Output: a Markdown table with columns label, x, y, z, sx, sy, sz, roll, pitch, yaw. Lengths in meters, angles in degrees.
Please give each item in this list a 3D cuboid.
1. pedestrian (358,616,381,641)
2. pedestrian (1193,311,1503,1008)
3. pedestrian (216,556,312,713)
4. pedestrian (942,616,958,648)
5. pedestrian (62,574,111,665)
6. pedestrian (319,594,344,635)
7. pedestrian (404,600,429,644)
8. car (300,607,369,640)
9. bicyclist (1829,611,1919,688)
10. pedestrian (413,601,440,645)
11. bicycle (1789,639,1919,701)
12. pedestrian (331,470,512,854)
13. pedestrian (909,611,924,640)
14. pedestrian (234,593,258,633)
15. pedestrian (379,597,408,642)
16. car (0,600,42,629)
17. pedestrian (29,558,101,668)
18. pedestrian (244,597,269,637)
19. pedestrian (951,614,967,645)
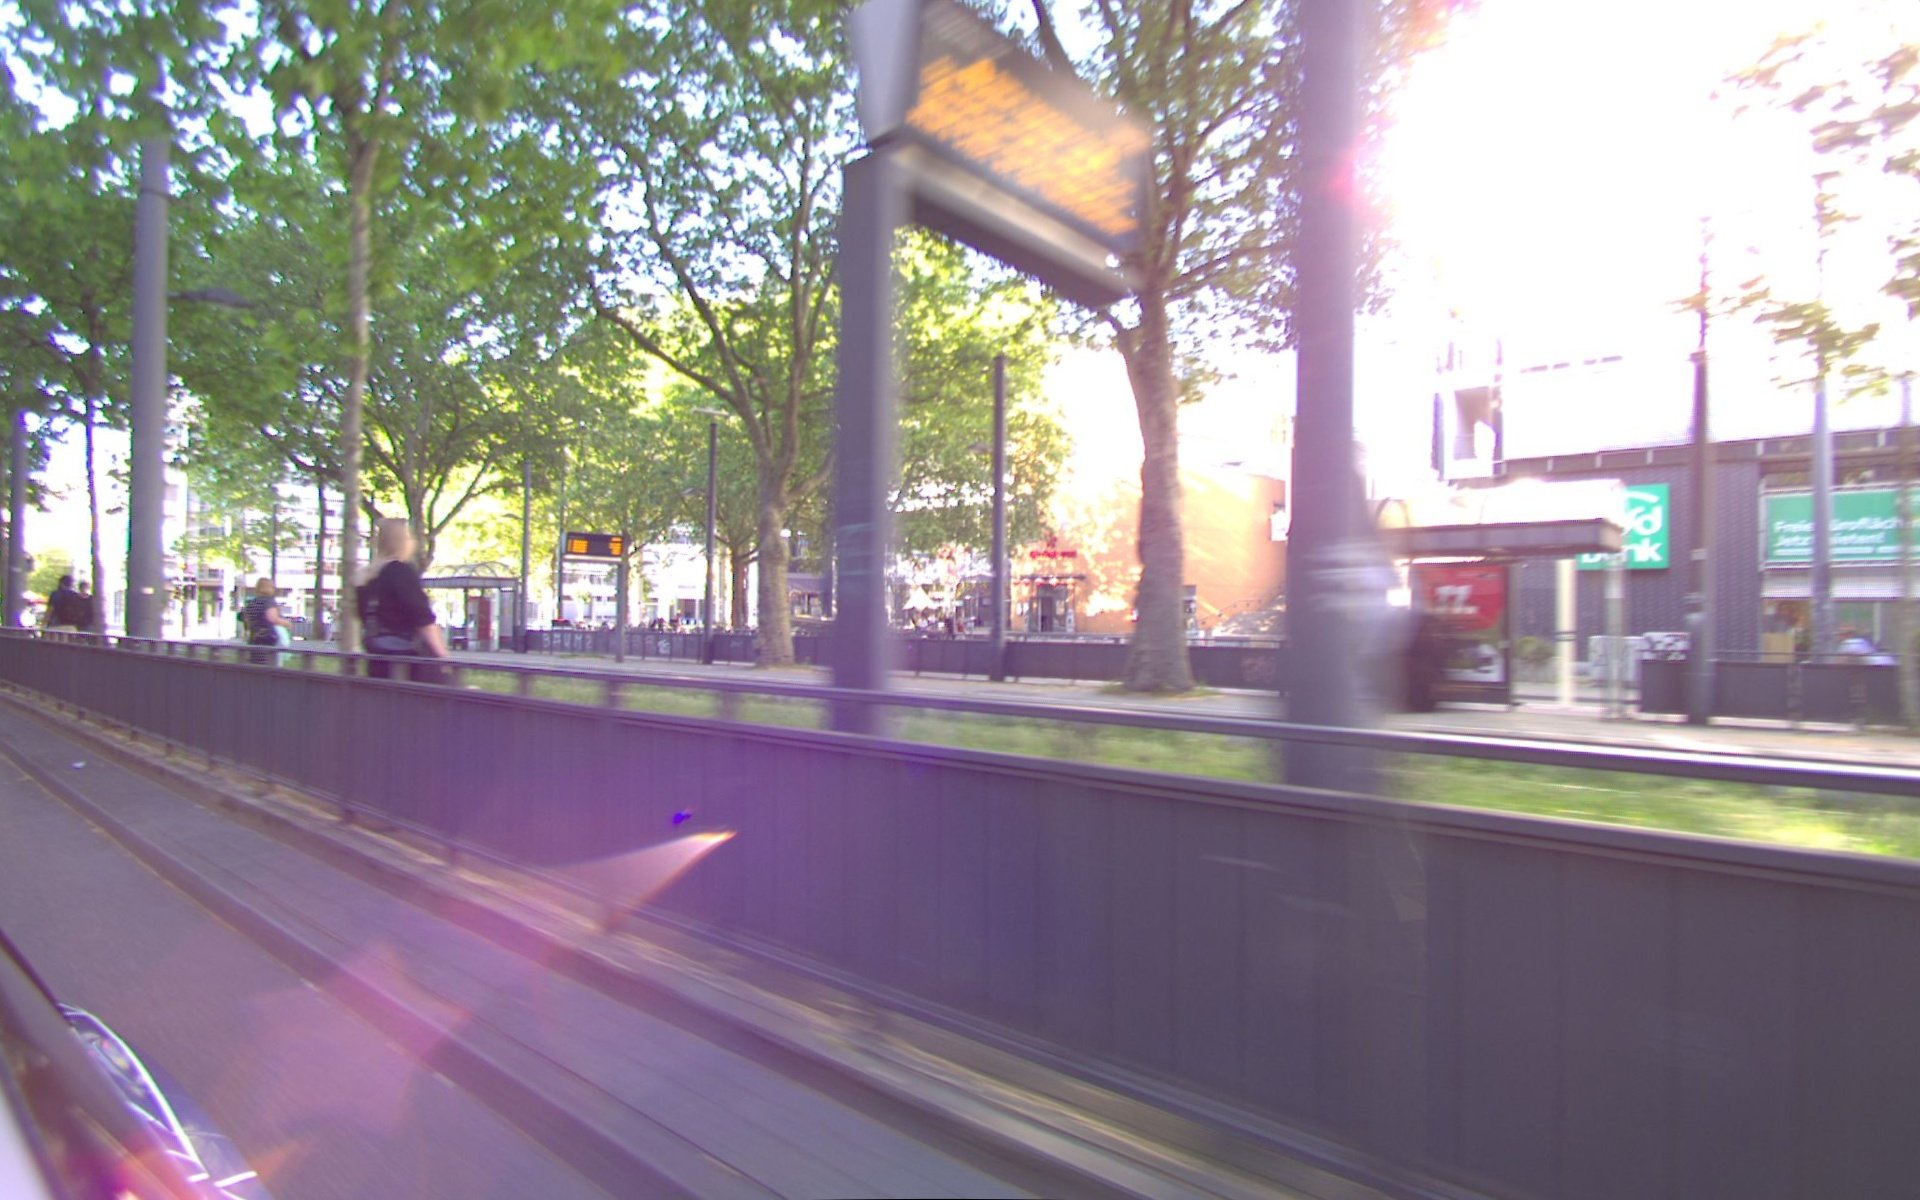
| label | x | y | z | sx | sy | sz | roll | pitch | yaw |
| --- | --- | --- | --- | --- | --- | --- | --- | --- | --- |
| pedestrian | -24.639 | 1.194 | 42.225 | 0.713 | 1.048 | 0.699 | 1 | -2 | -42 |
| pedestrian | 1.235 | 0.162 | 3.231 | 0.753 | 1.886 | 0.638 | -1 | -1 | 41 |
| pedestrian | -7.984 | 0.383 | 11.610 | 0.862 | 1.715 | 0.721 | -1 | -1 | 42 |
| pedestrian | -0.530 | 1.640 | 52.038 | 0.571 | 1.616 | 0.580 | 1 | -2 | -45 |
| pedestrian | -18.140 | 0.412 | 21.017 | 0.637 | 1.853 | 0.640 | -1 | -2 | 40 |
| pedestrian | -27.469 | 0.647 | 44.239 | 0.635 | 1.753 | 0.690 | -1 | -2 | 32 |
| pedestrian | -19.056 | 0.765 | 35.458 | 0.549 | 1.509 | 0.549 | -1 | -2 | 29 |
| car | -32.735 | 1.239 | 52.955 | 3.999 | 1.652 | 1.972 | -1 | -3 | 42 |
| bicyclist | 15.979 | 0.835 | 17.496 | 1.372 | 1.259 | 0.994 | -1 | -1 | 38 |
| pedestrian | -18.540 | 0.806 | 35.178 | 0.605 | 1.497 | 0.566 | -1 | -2 | 29 |
| bicycle | 16.007 | 1.197 | 17.463 | 2.582 | 1.004 | 0.793 | -1 | -1 | 38 |
| pedestrian | -2.910 | 0.314 | 5.481 | 0.661 | 1.901 | 0.639 | -1 | -2 | 40 |
| pedestrian | -2.479 | 1.437 | 57.699 | 0.597 | 1.616 | 0.572 | -1 | -2 | 39 |
| pedestrian | -31.523 | 0.581 | 44.671 | 0.674 | 1.767 | 0.649 | -1 | -2 | 32 |
| pedestrian | -20.768 | 0.712 | 37.116 | 0.666 | 1.654 | 0.662 | 0 | -1 | 29 |
| car | -50.189 | 0.761 | 53.624 | 3.340 | 1.466 | 1.847 | -1 | -2 | 41 |
| pedestrian | -15.223 | 0.227 | 17.218 | 0.824 | 1.816 | 0.700 | -1 | -2 | 33 |
| pedestrian | -30.872 | 0.748 | 44.414 | 0.697 | 1.709 | 0.678 | -1 | -2 | 32 |
| pedestrian | -0.044 | 1.513 | 52.479 | 0.571 | 1.616 | 0.598 | 1 | -2 | -45 |
